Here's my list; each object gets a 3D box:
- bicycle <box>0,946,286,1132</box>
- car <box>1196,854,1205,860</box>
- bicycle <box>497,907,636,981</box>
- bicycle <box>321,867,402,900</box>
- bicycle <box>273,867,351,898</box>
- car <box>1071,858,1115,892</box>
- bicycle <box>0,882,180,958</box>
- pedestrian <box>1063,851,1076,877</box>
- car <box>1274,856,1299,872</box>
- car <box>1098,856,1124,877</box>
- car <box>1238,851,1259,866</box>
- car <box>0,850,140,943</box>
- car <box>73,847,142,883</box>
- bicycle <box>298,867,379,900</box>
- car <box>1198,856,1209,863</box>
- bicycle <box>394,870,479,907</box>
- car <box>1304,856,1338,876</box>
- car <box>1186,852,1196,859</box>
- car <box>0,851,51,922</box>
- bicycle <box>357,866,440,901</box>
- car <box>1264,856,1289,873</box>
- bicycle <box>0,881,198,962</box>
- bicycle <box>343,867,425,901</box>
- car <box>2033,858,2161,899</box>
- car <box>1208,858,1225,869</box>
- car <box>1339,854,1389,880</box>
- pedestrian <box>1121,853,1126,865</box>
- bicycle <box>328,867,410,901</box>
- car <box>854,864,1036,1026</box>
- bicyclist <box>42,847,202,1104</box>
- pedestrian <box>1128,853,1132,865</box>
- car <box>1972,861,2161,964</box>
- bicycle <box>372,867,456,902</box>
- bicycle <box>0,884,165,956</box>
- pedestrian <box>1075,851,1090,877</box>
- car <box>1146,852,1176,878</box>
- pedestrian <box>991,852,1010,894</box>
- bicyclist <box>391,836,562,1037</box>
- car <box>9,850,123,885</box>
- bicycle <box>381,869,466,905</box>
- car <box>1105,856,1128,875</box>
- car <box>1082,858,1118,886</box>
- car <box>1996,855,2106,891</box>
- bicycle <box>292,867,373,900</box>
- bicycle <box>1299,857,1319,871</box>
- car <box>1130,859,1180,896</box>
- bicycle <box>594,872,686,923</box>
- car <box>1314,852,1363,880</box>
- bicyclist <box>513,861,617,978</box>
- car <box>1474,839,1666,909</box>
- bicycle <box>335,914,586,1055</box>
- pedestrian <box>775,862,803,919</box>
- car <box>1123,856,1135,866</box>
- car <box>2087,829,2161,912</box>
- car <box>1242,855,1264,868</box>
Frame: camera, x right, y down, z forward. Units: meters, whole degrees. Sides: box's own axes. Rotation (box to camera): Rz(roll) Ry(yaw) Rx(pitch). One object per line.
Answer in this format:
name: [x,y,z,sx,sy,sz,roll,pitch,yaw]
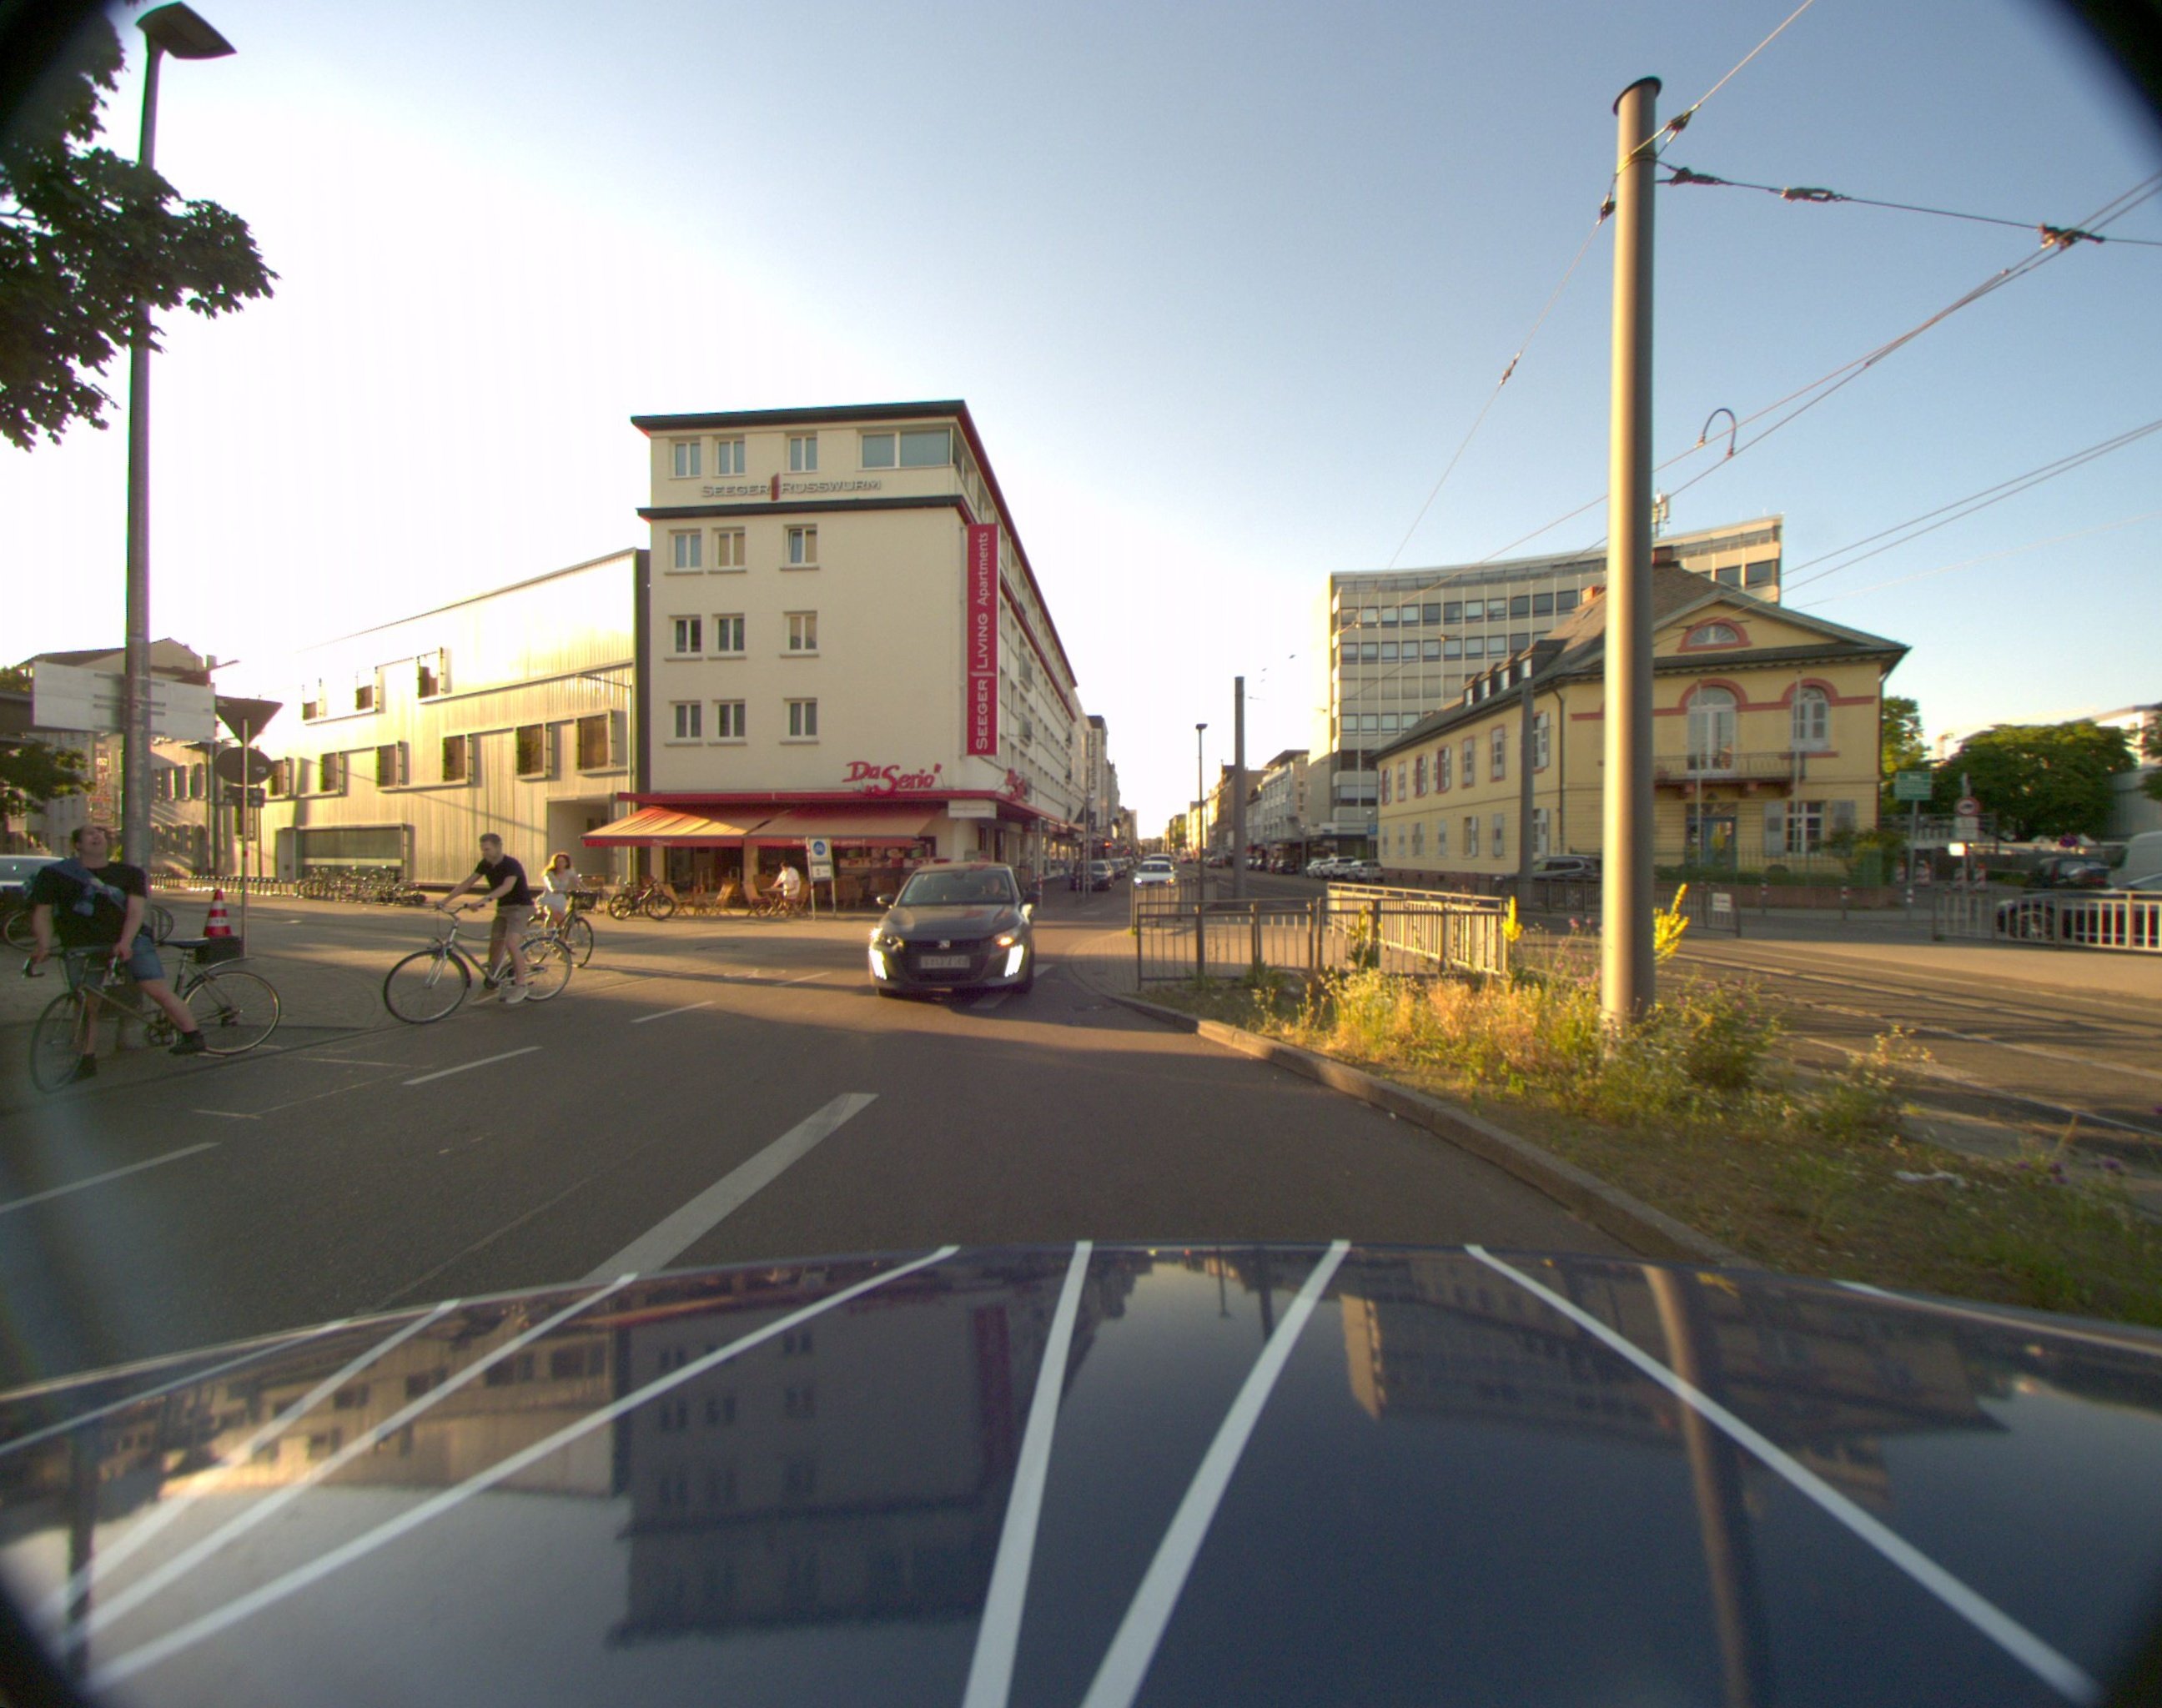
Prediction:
bicycle: [-7.114,1.285,5.707,0.466,0.965,1.800,0,0,-3]
car: [30.017,0.659,190.987,1.998,1.543,4.001,0,0,5]
bicycle: [-7.552,1.281,11.141,2.007,0.876,0.842,0,1,28]
bicycle: [-27.418,1.101,29.006,0.702,1.213,2.117,0,-1,27]
bicycle: [-31.391,1.136,31.061,0.703,1.213,2.117,0,-1,20]
car: [0.654,0.967,36.885,1.739,1.503,4.687,2,0,5]
bicycle: [-17.342,1.098,13.162,0.702,1.213,2.117,0,-1,27]
pedestrian: [-0.760,0.660,50.478,0.730,1.731,0.863,2,1,5]
car: [20.025,0.961,74.171,1.689,1.503,4.216,0,0,5]
car: [2.331,0.906,57.698,1.739,1.503,4.305,2,0,5]
car: [22.688,0.595,103.154,1.959,1.965,5.164,1,0,4]
car: [-22.086,0.808,15.898,3.990,1.740,1.896,0,1,22]
car: [-56.427,0.641,44.021,4.246,2.002,2.004,-1,0,32]
bicycle: [-28.678,1.120,29.400,0.702,1.213,2.117,0,-1,27]
car: [27.447,1.156,170.188,1.998,1.543,4.208,0,0,5]
bicycle: [-22.239,1.170,26.285,0.702,1.213,2.117,0,-1,27]
car: [19.043,0.955,60.467,1.816,1.503,4.434,1,0,7]
car: [25.554,0.394,176.728,1.998,1.543,4.002,0,0,5]
car: [-28.338,0.775,19.402,4.421,1.739,1.898,0,-1,30]
bicycle: [-24.775,1.047,27.645,0.702,1.213,2.117,0,-1,27]
car: [20.360,1.093,79.387,1.689,1.503,4.216,7,1,5]
bicycle: [-16.375,1.068,12.608,0.702,1.213,2.117,0,-1,27]
bicycle: [-25.730,1.107,28.106,0.702,1.213,2.117,0,-1,27]
car: [39.851,0.887,29.916,1.994,1.477,4.102,0,0,37]
car: [19.732,1.385,110.780,1.739,1.503,4.034,0,0,0]
car: [18.175,0.817,48.963,1.816,1.608,4.215,0,0,2]
pedestrian: [6.248,0.724,111.989,0.610,1.743,0.605,1,0,5]
bicycle: [-26.598,1.115,28.438,0.702,1.213,2.117,0,-1,27]
car: [-1.464,0.921,9.652,1.732,1.513,4.332,-1,0,-3]
bicyclist: [-7.101,0.860,5.653,0.466,1.819,0.559,0,0,-3]
pedestrian: [7.199,0.739,111.850,0.605,1.717,0.646,1,0,5]
car: [17.666,0.915,11.777,2.002,1.575,4.579,0,0,-19]
bicycle: [-23.740,1.078,27.080,0.702,1.213,2.117,0,-1,27]
bicycle: [-18.300,1.164,13.703,0.702,1.212,2.118,0,-3,27]
pedestrian: [0.090,0.663,49.909,0.828,1.708,0.843,2,1,5]
car: [5.647,0.741,54.050,1.998,1.805,4.001,0,0,3]
pedestrian: [-3.446,0.810,32.507,0.605,1.750,0.525,0,1,-39]
bicyclist: [-6.118,0.781,7.767,0.840,1.906,1.115,0,0,0]
car: [-63.318,0.818,47.475,1.995,2.002,4.007,-1,0,31]
bicycle: [-23.034,1.129,26.665,0.702,1.213,2.117,0,-1,27]
car: [3.010,0.939,63.727,1.794,1.503,4.713,2,0,4]
car: [1.132,0.986,43.555,1.789,1.503,4.053,2,0,5]
car: [42.776,0.781,33.632,1.994,1.477,4.102,0,0,37]
bicycle: [-29.328,1.145,29.806,0.702,1.213,2.117,0,-1,27]
bicycle: [24.810,1.089,82.777,1.973,1.417,0.834,1,0,3]
car: [3.152,0.969,32.693,1.998,1.450,4.001,0,0,5]
bicycle: [-11.701,1.136,20.178,2.110,1.280,0.705,0,1,8]
car: [18.313,0.817,54.230,1.817,1.775,4.497,-3,0,-1]
bicyclist: [-7.571,0.913,11.158,1.112,1.613,0.842,0,0,28]
car: [14.605,0.550,23.098,2.001,1.890,4.805,0,0,-15]
bicycle: [-6.121,1.231,7.711,0.840,1.014,2.076,0,2,-1]
pedestrian: [-8.036,1.000,20.930,0.574,1.532,0.572,0,1,-3]
car: [7.530,1.036,118.755,1.681,1.534,3.887,2,0,5]
car: [36.506,0.532,25.414,2.092,2.614,5.437,0,0,38]
car: [21.667,0.928,95.616,1.998,1.457,4.560,-1,0,4]
